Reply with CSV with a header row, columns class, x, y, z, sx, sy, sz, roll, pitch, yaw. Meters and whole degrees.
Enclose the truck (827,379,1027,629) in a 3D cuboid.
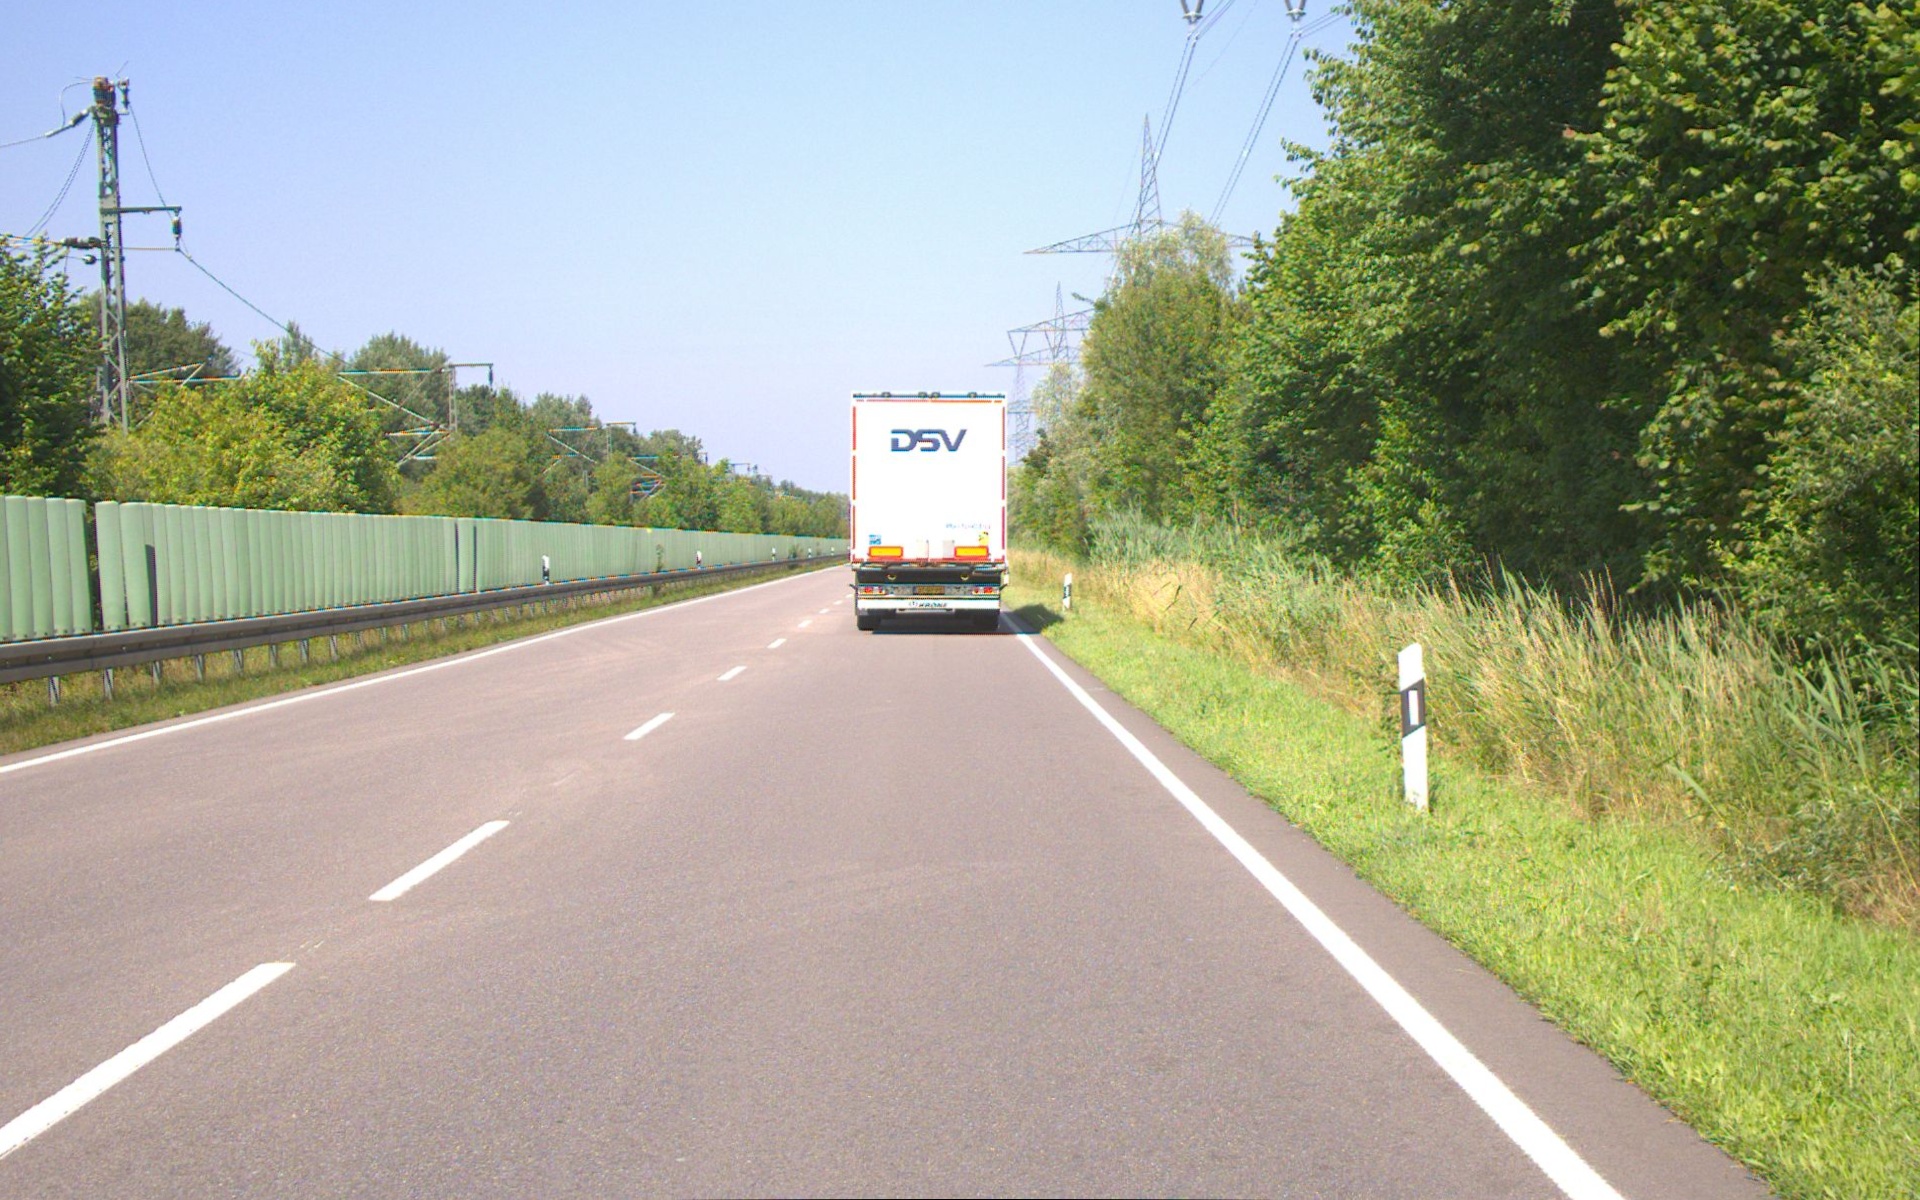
class,x,y,z,sx,sy,sz,roll,pitch,yaw
truck,-0.634,-1.662,61.751,3.192,4.029,12.008,-1,1,-1
